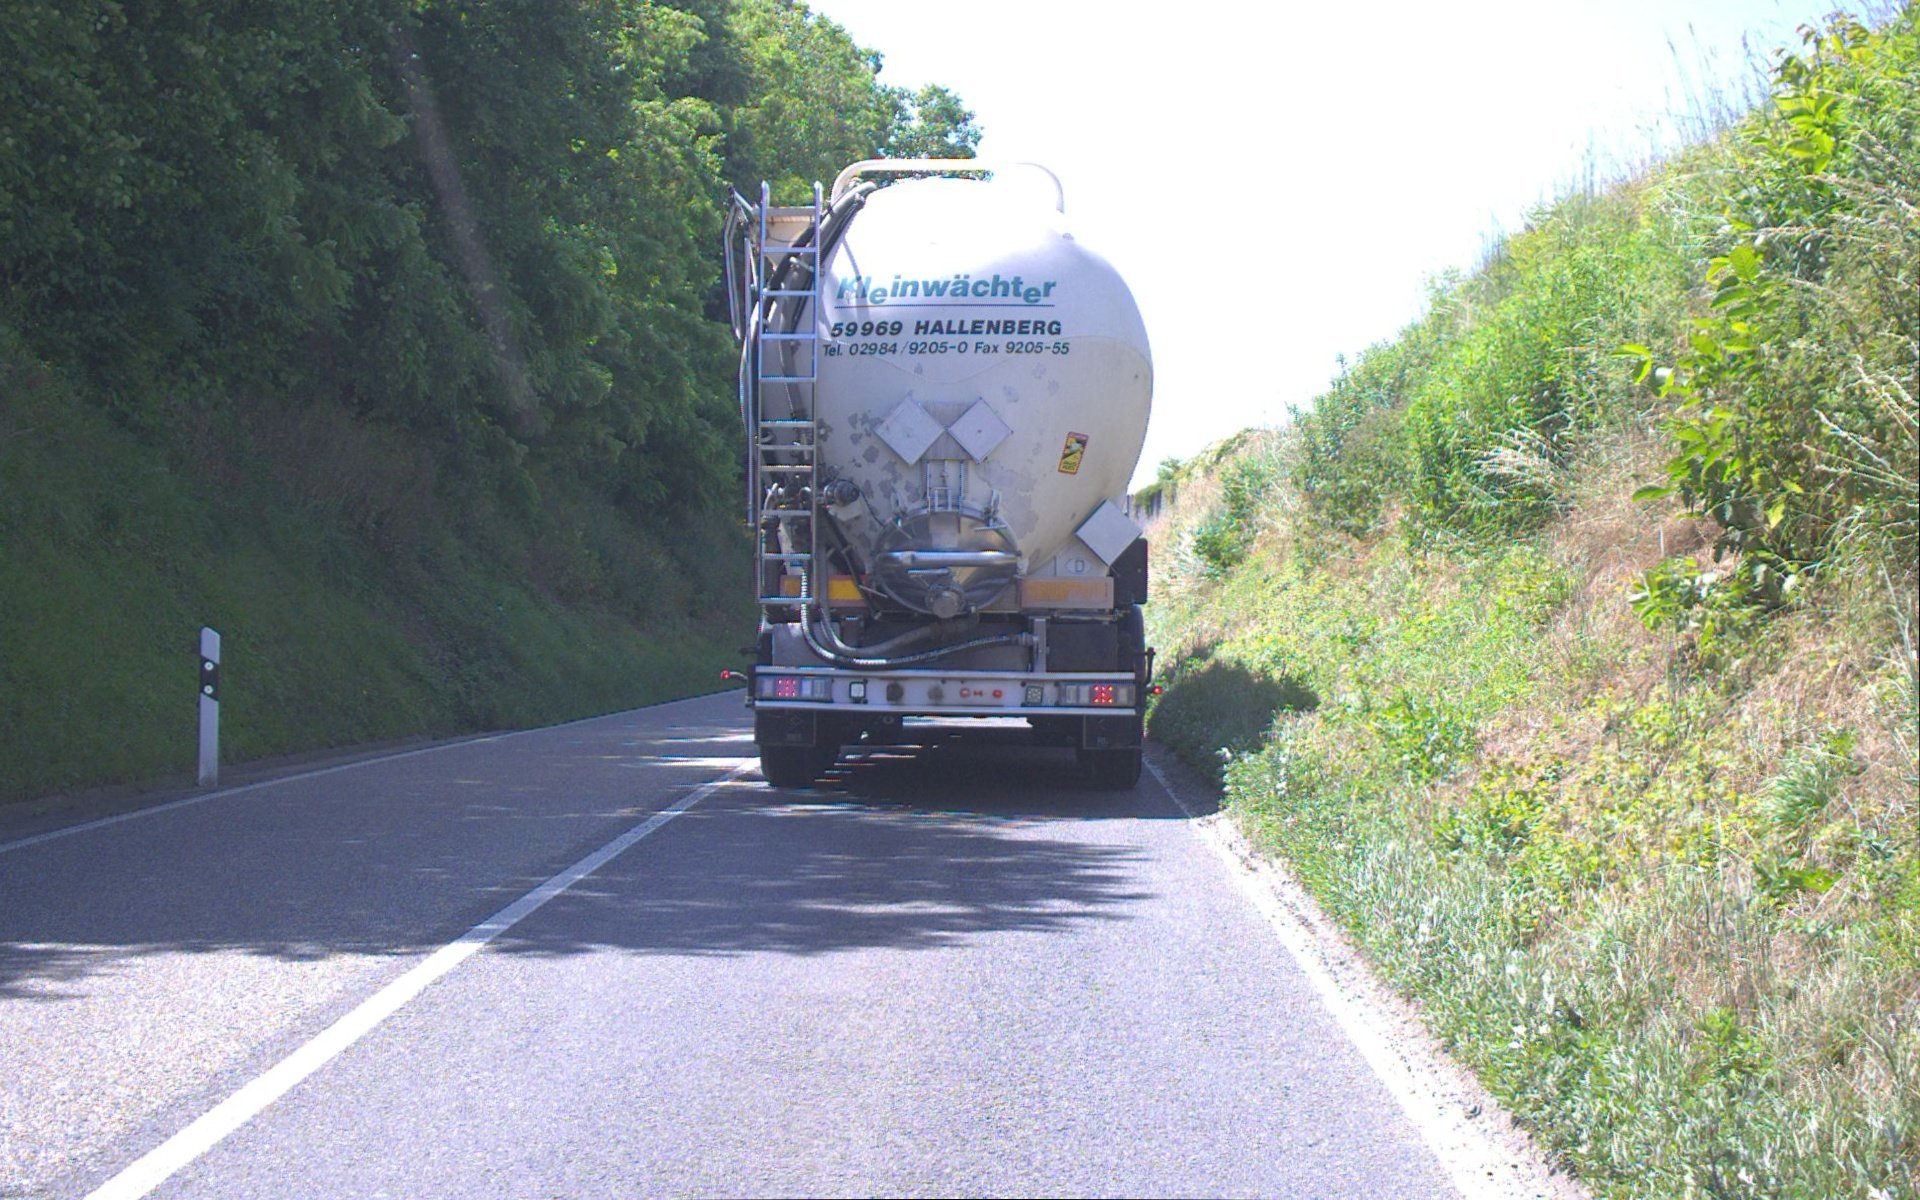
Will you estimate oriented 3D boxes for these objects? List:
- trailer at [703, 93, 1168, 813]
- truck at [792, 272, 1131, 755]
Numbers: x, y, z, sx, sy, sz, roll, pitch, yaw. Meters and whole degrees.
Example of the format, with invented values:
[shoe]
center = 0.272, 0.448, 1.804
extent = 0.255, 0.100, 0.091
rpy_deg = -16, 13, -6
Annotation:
[trailer]
center = -0.036, -0.825, 26.055
extent = 2.661, 4.174, 11.903
rpy_deg = 1, 0, 1
[truck]
center = 0.075, -0.661, 31.752
extent = 2.727, 3.916, 7.262
rpy_deg = -1, -1, 1
